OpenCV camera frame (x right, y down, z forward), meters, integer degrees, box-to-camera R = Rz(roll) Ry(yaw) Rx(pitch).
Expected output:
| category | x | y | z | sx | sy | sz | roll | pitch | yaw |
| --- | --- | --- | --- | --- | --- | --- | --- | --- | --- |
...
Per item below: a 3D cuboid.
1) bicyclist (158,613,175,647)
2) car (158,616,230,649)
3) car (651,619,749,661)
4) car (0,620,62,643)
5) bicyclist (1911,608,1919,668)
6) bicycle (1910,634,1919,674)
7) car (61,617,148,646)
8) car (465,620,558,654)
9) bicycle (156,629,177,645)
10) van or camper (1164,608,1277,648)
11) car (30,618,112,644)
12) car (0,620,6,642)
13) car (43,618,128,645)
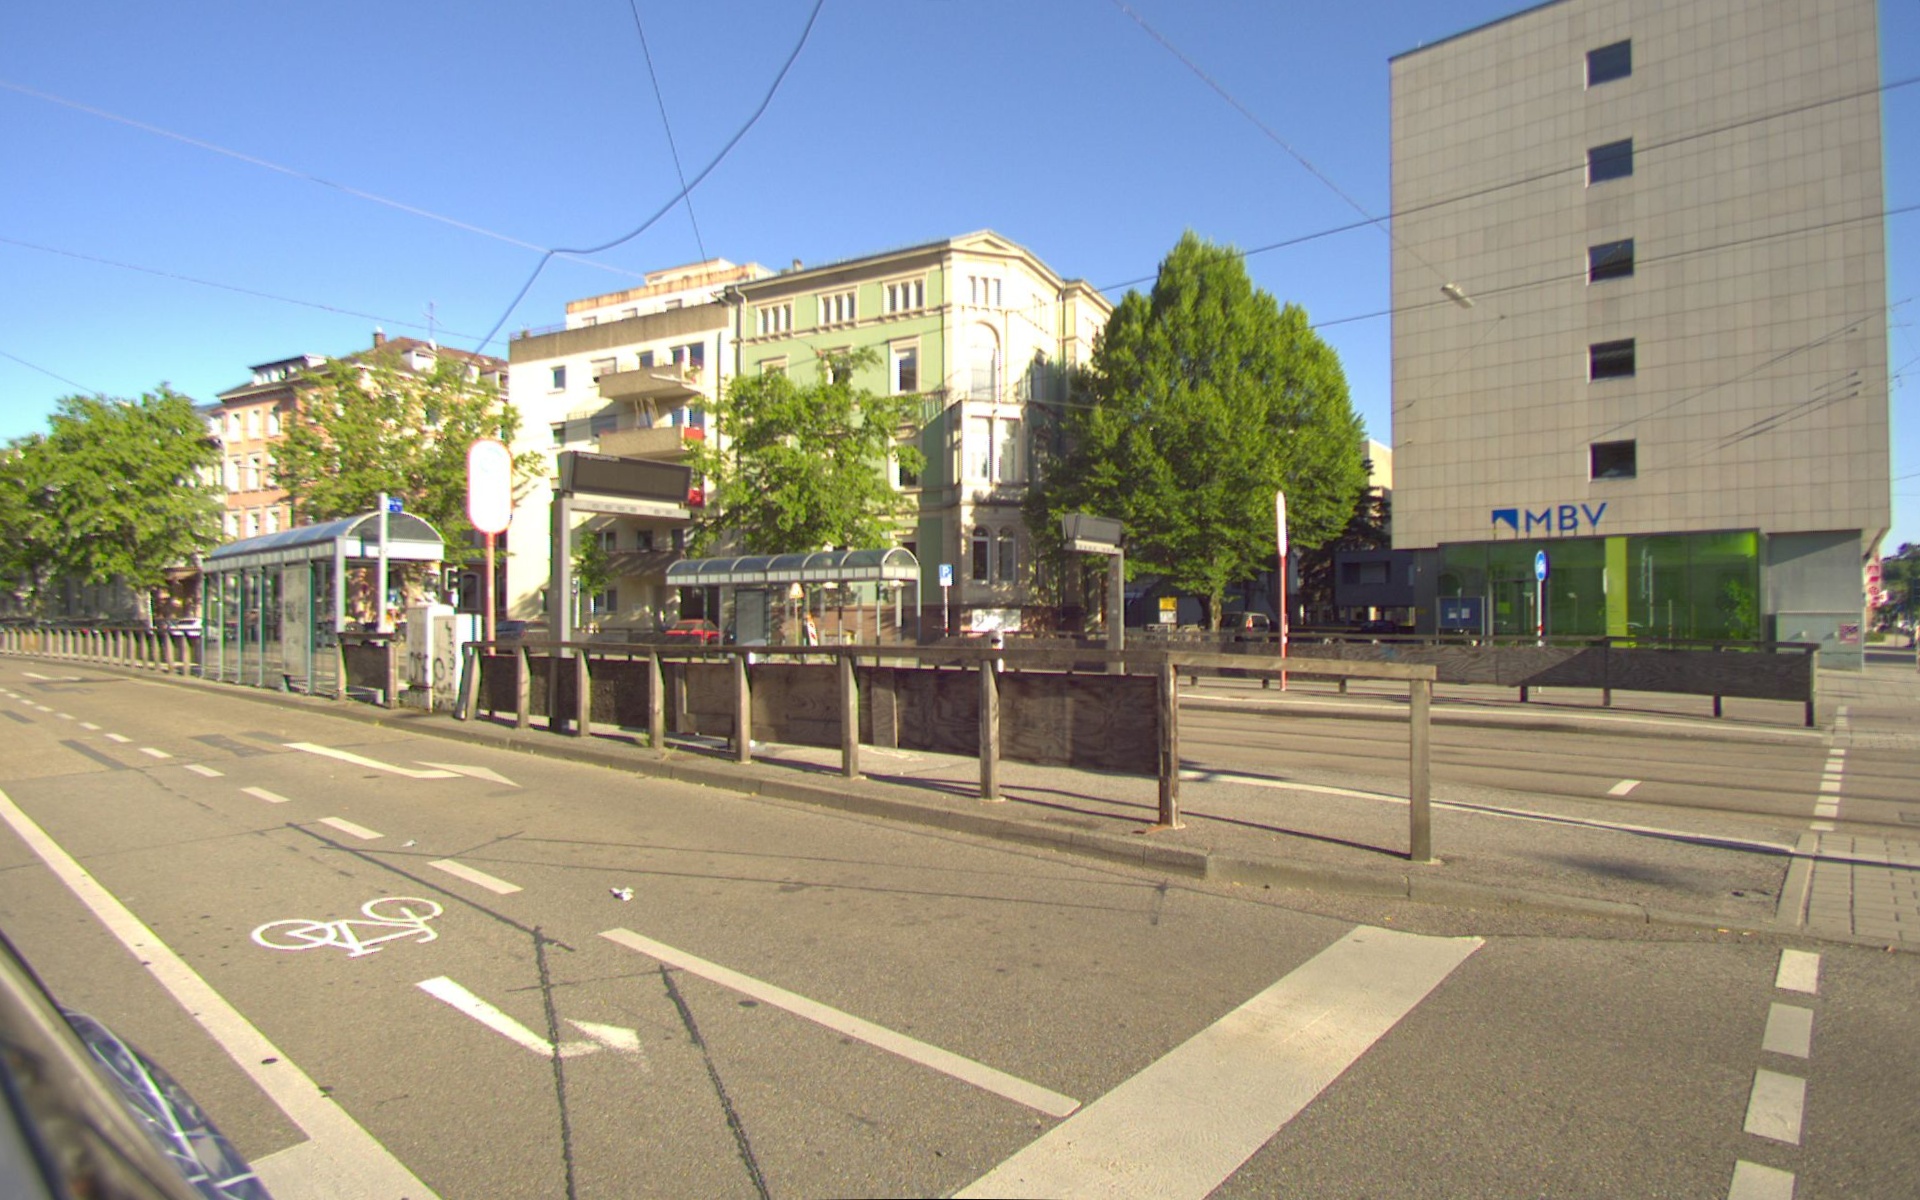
| category | x | y | z | sx | sy | sz | roll | pitch | yaw |
| --- | --- | --- | --- | --- | --- | --- | --- | --- | --- |
| bicyclist | -41.937 | 1.583 | 53.475 | 0.770 | 1.774 | 0.529 | 0 | -1 | 41 |
| car | -44.492 | 1.877 | 58.871 | 1.966 | 1.736 | 4.012 | 1 | 0 | -15 |
| car | -9.998 | 1.527 | 39.137 | 1.763 | 1.547 | 3.763 | -1 | -2 | 23 |
| car | -64.566 | 2.161 | 69.795 | 3.811 | 1.604 | 2.001 | 1 | -2 | -45 |
| bicyclist | 26.268 | 1.018 | 27.333 | 0.812 | 1.614 | 0.672 | -2 | -2 | 42 |
| bicycle | 26.272 | 1.449 | 27.327 | 0.812 | 1.042 | 2.097 | -2 | -2 | 42 |
| car | -52.942 | 1.937 | 62.666 | 2.001 | 1.697 | 3.942 | -2 | -2 | 44 |
| car | -18.994 | 1.561 | 42.855 | 3.498 | 1.406 | 1.602 | -1 | -2 | 22 |
| bicycle | -41.901 | 1.933 | 53.437 | 1.852 | 0.793 | 0.529 | 0 | -1 | 41 |
| van or camper | 10.513 | 1.115 | 40.965 | 3.998 | 1.417 | 1.943 | 2 | 0 | 41 |
| car | -59.260 | 2.043 | 67.476 | 2.001 | 1.697 | 3.942 | -2 | -2 | 44 |
| car | -73.049 | 2.284 | 74.651 | 2.001 | 1.604 | 3.812 | -2 | -2 | 44 |
| car | -56.256 | 1.999 | 65.143 | 2.001 | 1.697 | 3.942 | -2 | -2 | 44 |
